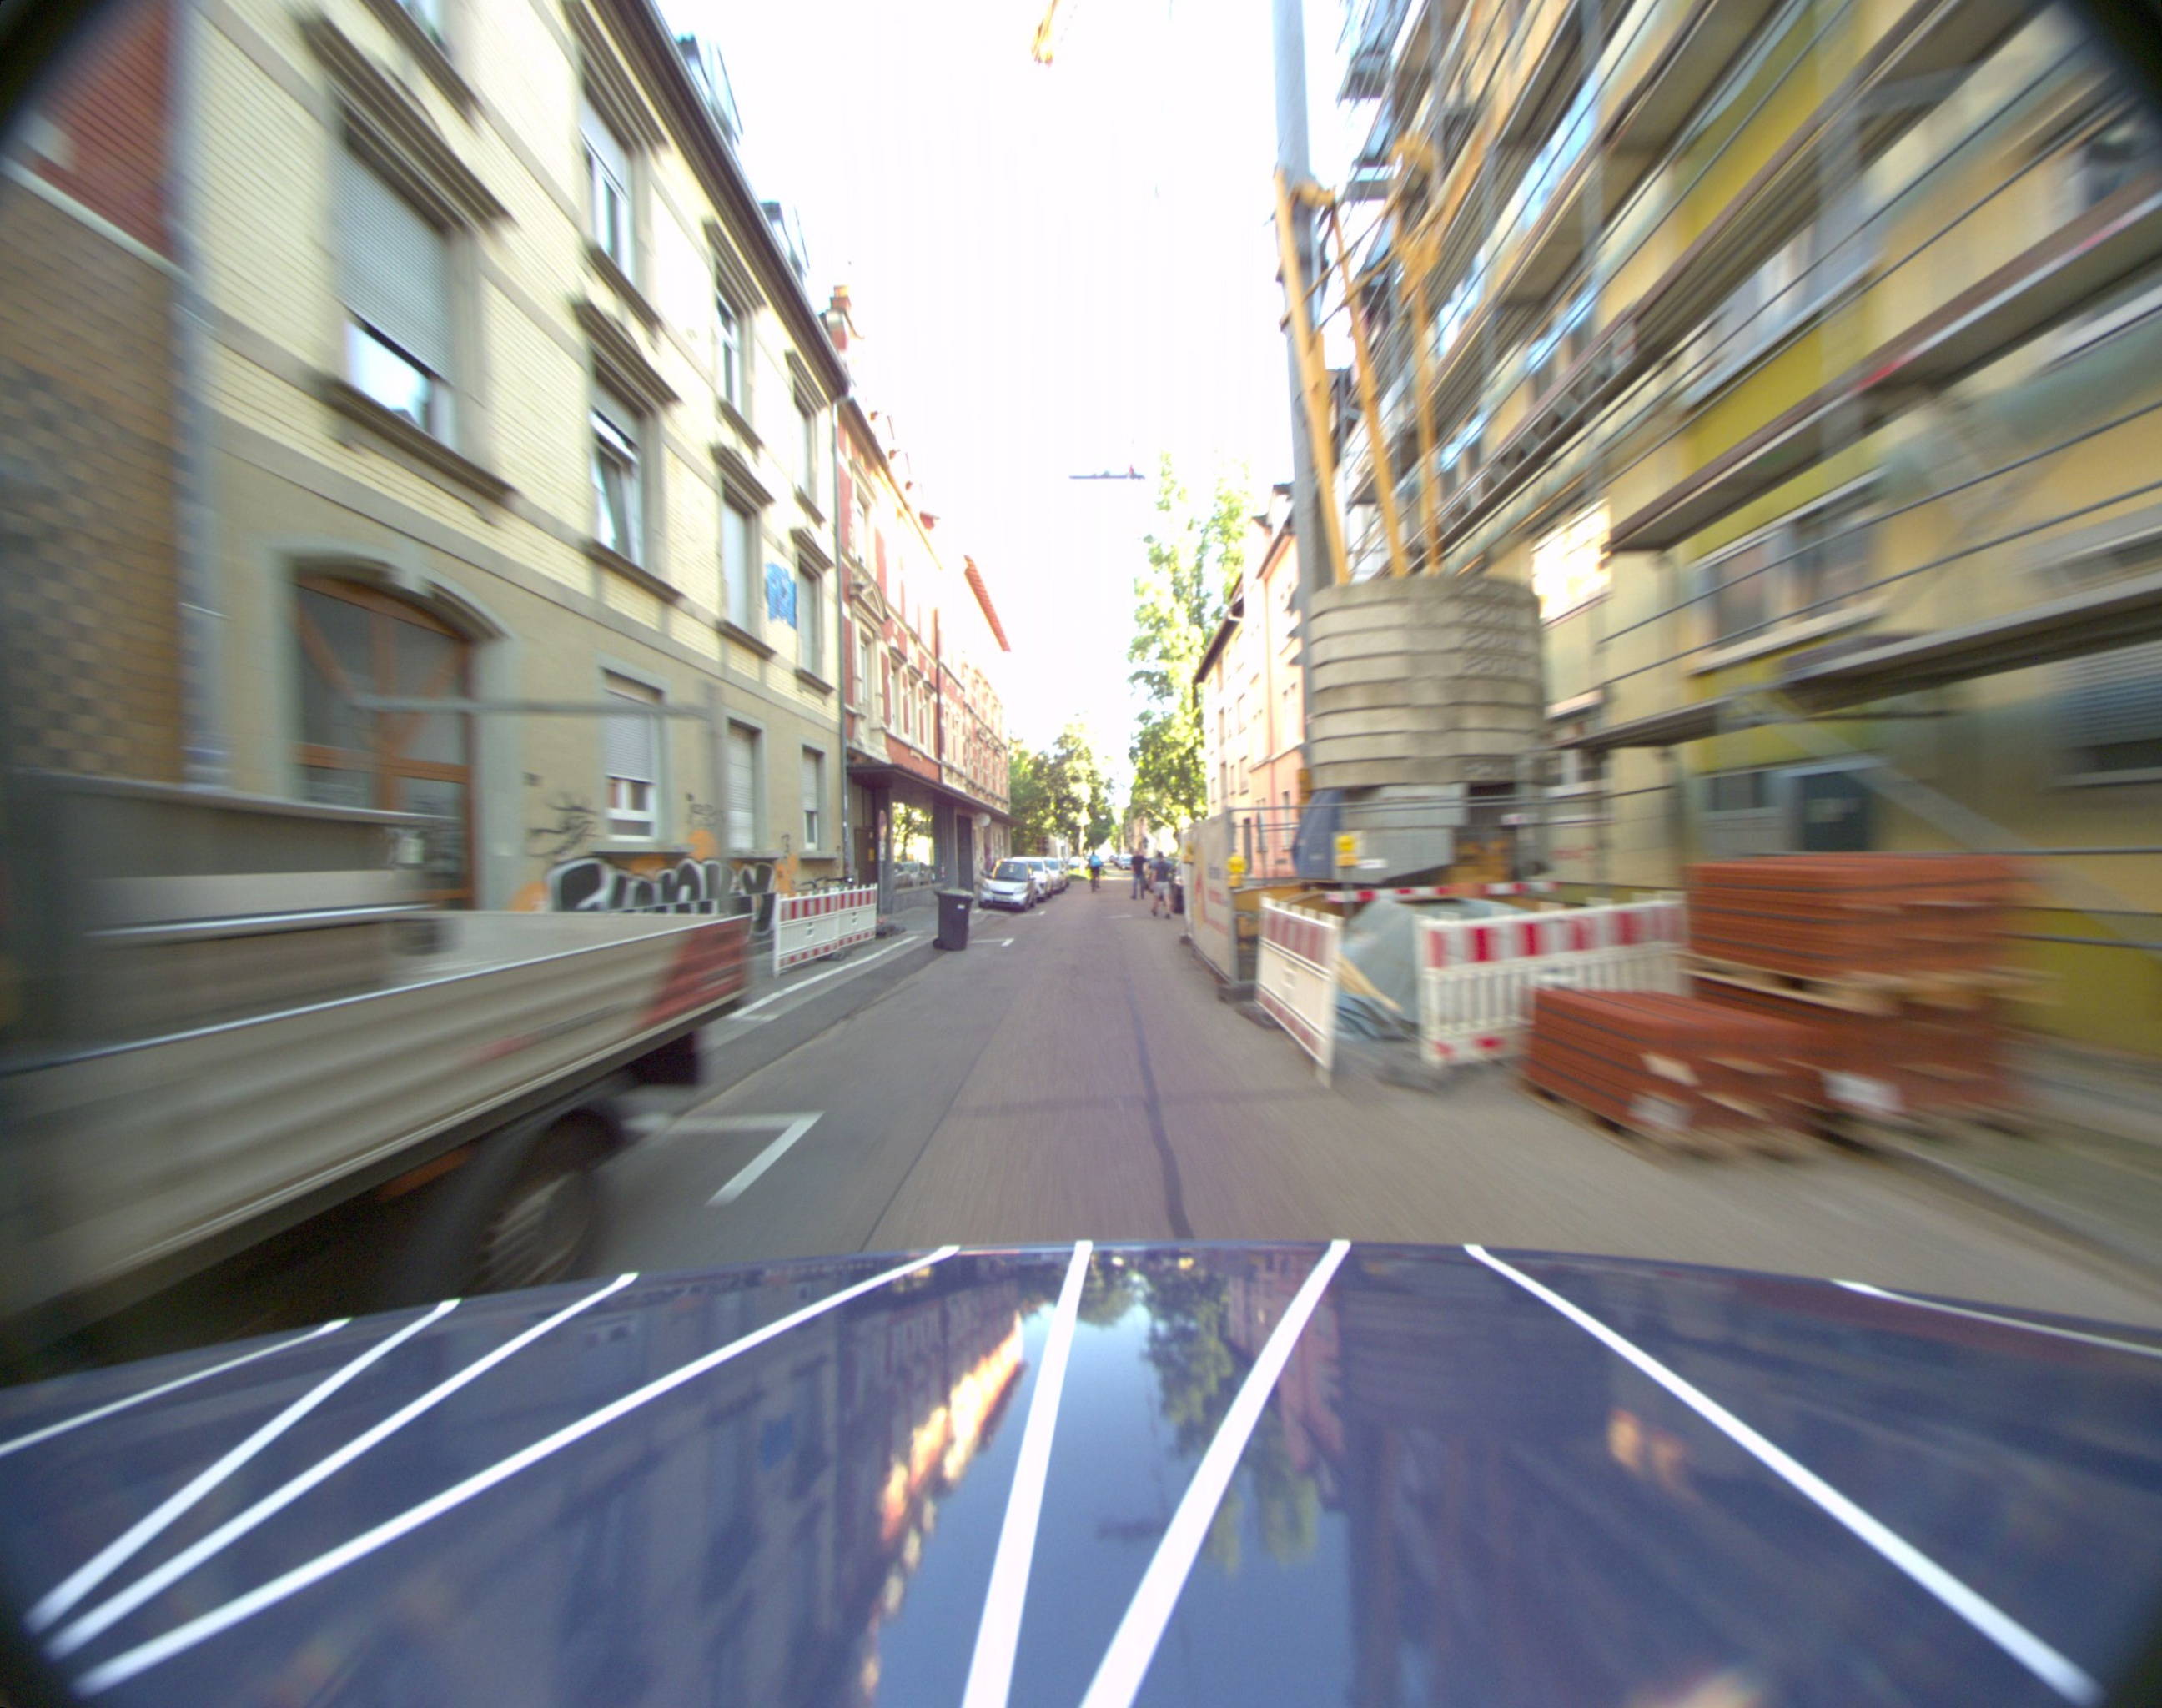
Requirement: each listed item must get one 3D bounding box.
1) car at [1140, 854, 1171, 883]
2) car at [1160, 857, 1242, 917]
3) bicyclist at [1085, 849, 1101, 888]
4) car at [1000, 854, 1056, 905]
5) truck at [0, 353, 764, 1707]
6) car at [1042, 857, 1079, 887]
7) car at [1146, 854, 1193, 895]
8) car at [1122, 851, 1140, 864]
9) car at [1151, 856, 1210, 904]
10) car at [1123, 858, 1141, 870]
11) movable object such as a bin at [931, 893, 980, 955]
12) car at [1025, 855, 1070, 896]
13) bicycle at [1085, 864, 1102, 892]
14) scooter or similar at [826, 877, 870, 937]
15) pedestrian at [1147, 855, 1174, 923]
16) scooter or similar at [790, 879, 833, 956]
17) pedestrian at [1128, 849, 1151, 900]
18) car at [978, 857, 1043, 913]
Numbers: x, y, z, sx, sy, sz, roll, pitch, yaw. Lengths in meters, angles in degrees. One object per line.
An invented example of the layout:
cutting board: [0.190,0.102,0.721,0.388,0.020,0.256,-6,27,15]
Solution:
car: [4.107,0.786,42.433,1.464,1.512,3.661,-1,0,2]
car: [3.350,0.859,22.005,1.771,1.500,4.697,-1,0,2]
bicyclist: [0.525,0.603,32.690,0.666,1.668,0.892,0,1,0]
car: [-1.915,0.892,28.554,1.603,1.652,4.060,-4,0,2]
truck: [-2.814,0.493,0.979,2.154,2.642,6.252,3,0,-1]
car: [-1.061,0.927,40.920,1.646,1.442,4.166,-3,0,2]
car: [3.679,0.811,32.138,1.646,1.565,4.249,-1,0,2]
car: [6.264,0.403,95.183,2.168,1.508,5.377,-1,0,2]
car: [3.468,0.881,27.096,1.646,1.483,4.000,-2,0,2]
car: [5.518,1.055,82.370,1.759,1.293,4.249,-1,0,2]
movable object such as a bin: [-2.245,1.243,13.663,0.742,1.051,0.687,-1,1,2]
car: [-1.463,0.926,34.091,1.603,1.626,3.775,-4,0,2]
bicycle: [0.532,1.037,32.910,0.688,1.151,1.846,0,1,0]
scooter or similar: [-4.811,1.068,15.747,0.389,1.137,1.444,2,0,1]
pedestrian: [1.955,0.839,18.688,0.594,1.634,0.813,0,1,2]
scooter or similar: [-4.723,1.084,13.380,0.456,1.202,1.443,2,1,-10]
pedestrian: [2.052,0.714,26.603,0.740,1.743,0.997,-1,1,3]
car: [-2.155,0.921,24.142,1.525,1.525,3.463,4,0,2]
